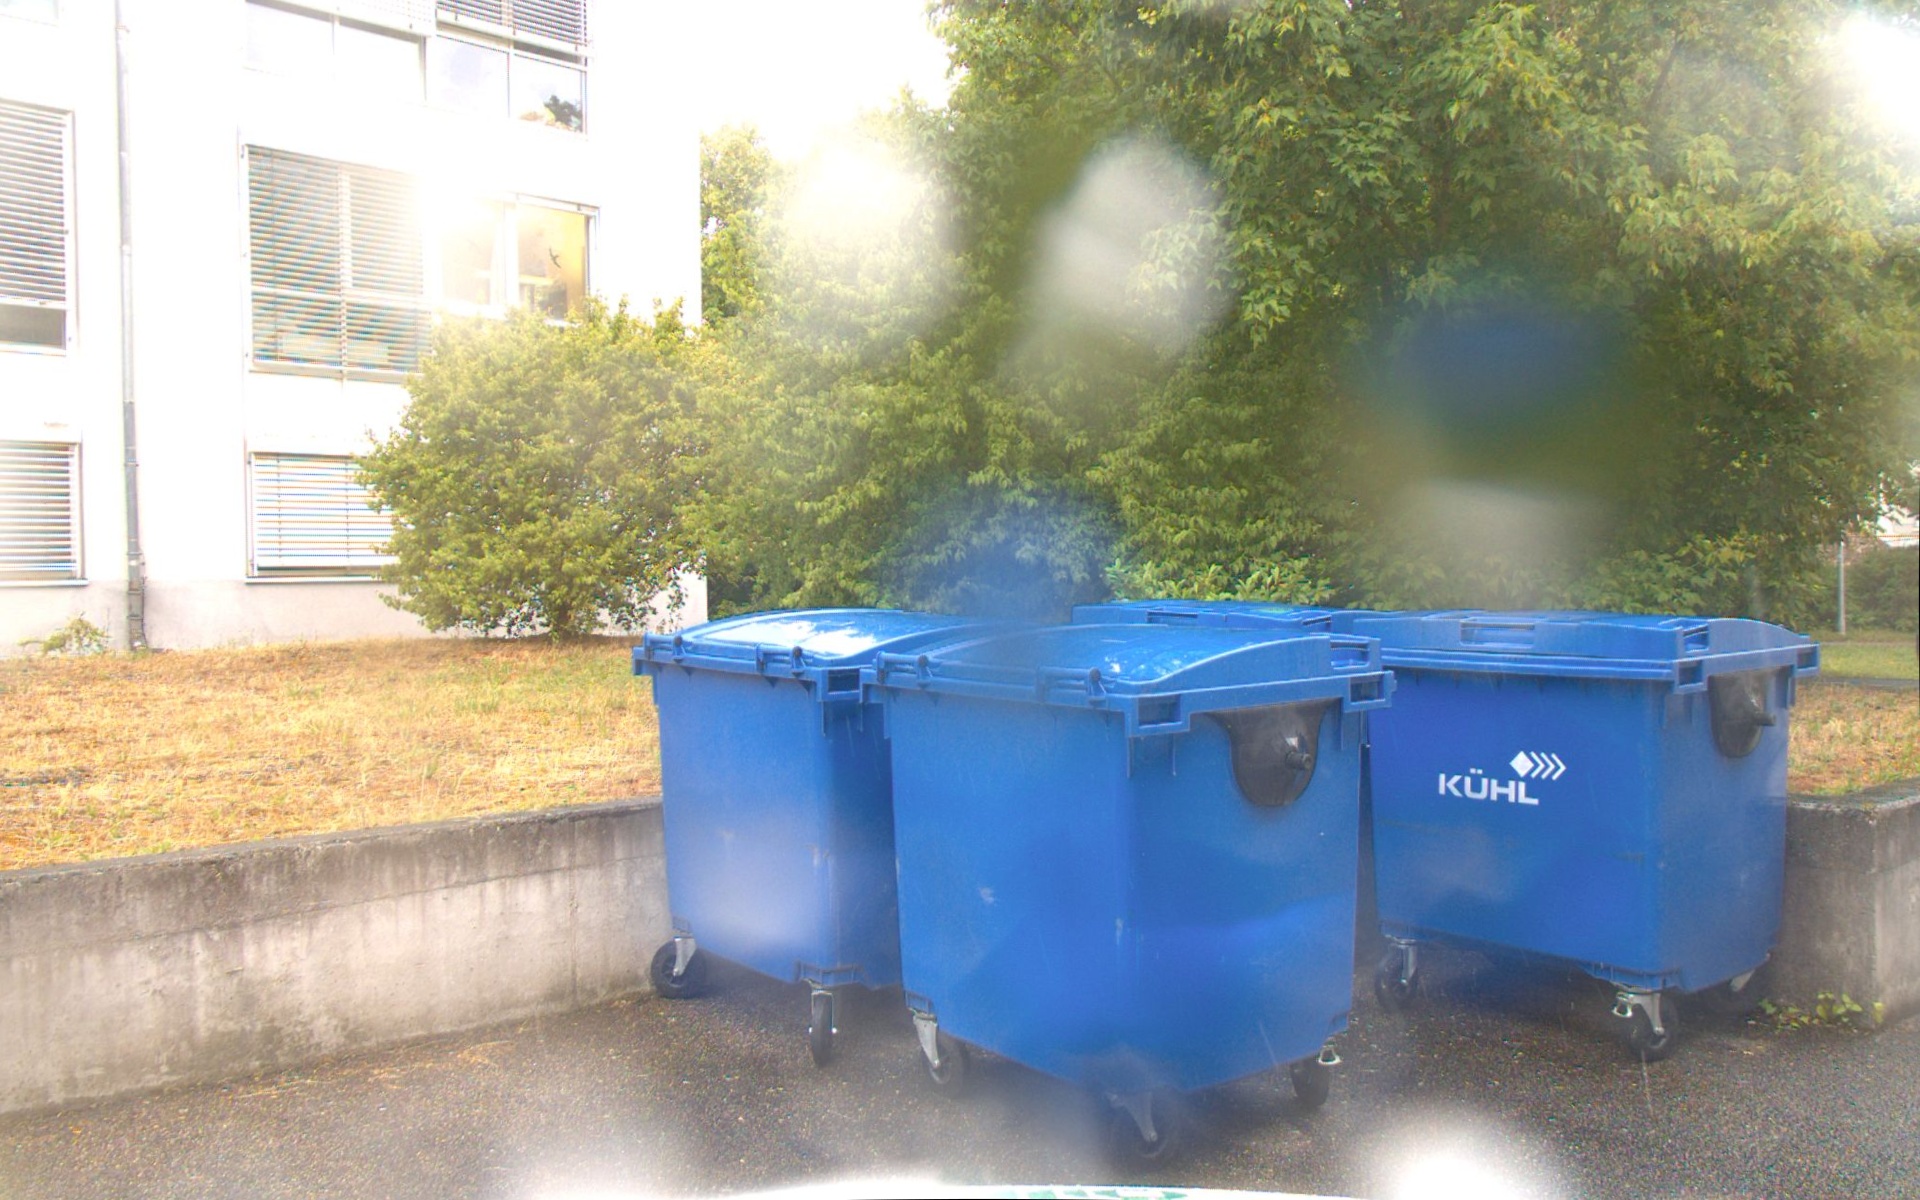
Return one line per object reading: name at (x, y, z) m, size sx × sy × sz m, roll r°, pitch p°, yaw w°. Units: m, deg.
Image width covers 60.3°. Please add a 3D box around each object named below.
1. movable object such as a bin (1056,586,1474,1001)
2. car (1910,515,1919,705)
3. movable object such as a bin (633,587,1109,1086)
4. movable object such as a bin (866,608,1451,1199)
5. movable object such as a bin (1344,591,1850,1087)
movable object such as a bin at (1.154, 0.648, 6.358) m, size 0.997 × 1.360 × 1.208 m, roll -3°, pitch 2°, yaw -39°
car at (12.549, 0.053, 16.702) m, size 1.980 × 2.049 × 4.730 m, roll -2°, pitch 1°, yaw -38°
movable object such as a bin at (-0.313, 0.681, 5.590) m, size 1.106 × 1.360 × 1.190 m, roll -4°, pitch 4°, yaw -39°
movable object such as a bin at (0.521, 0.720, 4.581) m, size 1.104 × 1.360 × 1.192 m, roll -1°, pitch 1°, yaw -35°
movable object such as a bin at (2.062, 0.665, 5.408) m, size 0.997 × 1.360 × 1.208 m, roll -2°, pitch 1°, yaw -39°
